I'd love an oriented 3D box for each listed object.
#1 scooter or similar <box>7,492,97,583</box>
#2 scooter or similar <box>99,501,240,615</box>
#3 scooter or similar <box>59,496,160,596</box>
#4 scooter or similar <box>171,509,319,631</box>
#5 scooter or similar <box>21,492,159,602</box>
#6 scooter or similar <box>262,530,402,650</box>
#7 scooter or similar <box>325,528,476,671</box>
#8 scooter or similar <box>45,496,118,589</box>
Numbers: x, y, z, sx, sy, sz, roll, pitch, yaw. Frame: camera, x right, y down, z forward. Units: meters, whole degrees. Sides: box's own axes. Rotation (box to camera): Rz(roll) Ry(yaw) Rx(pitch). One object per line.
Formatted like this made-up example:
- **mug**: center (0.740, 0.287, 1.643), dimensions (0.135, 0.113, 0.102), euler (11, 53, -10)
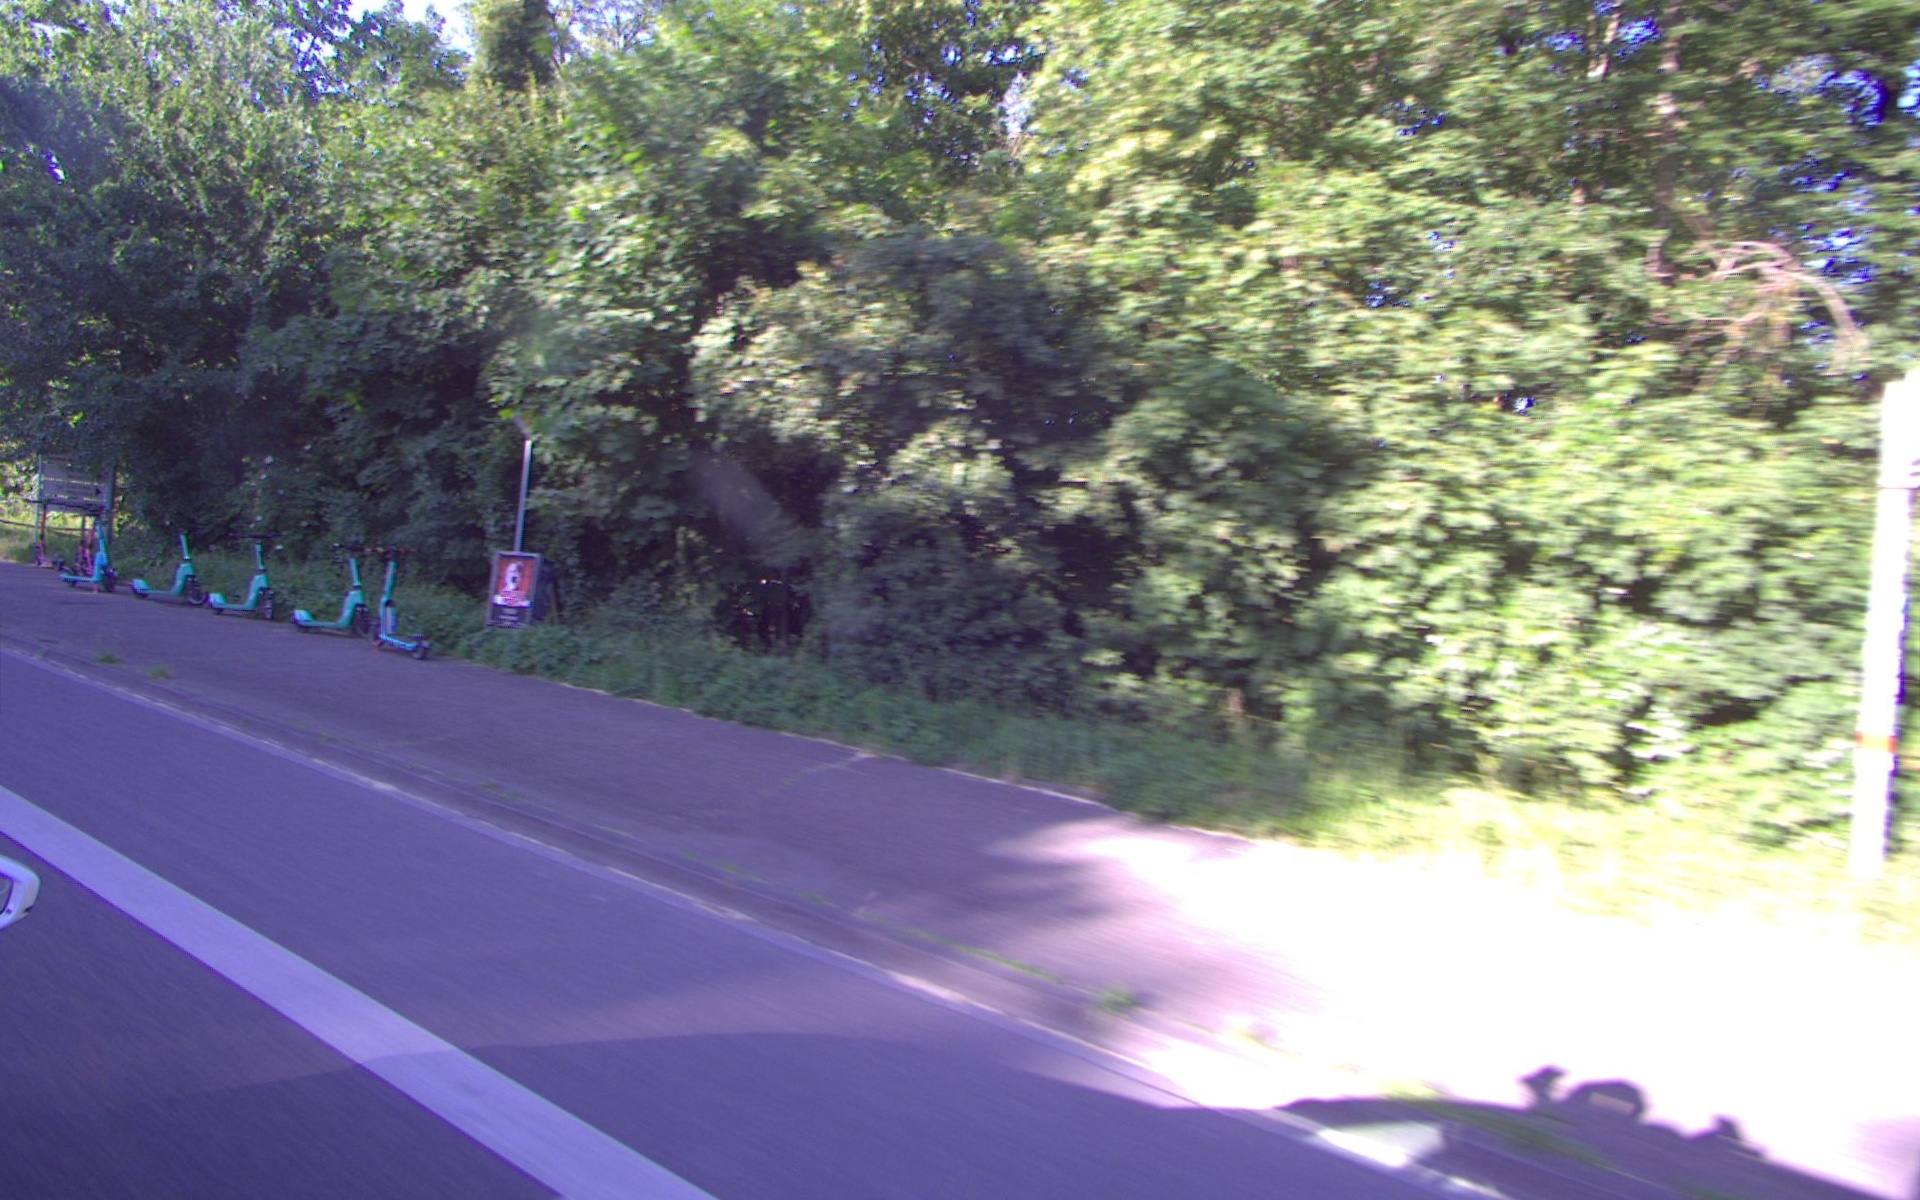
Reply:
- **scooter or similar**: center (-16.302, -1.131, 18.057), dimensions (1.654, 1.441, 0.682), euler (7, 1, 32)
- **scooter or similar**: center (-11.472, -0.608, 14.607), dimensions (1.650, 1.441, 0.684), euler (7, 1, 16)
- **scooter or similar**: center (-13.836, -0.889, 16.353), dimensions (1.654, 1.441, 0.682), euler (7, 1, 32)
- **scooter or similar**: center (-9.688, -0.400, 13.640), dimensions (1.650, 1.441, 0.684), euler (7, 1, 18)
- **scooter or similar**: center (-13.079, -0.795, 15.125), dimensions (1.650, 1.441, 0.684), euler (7, 1, 16)
- **scooter or similar**: center (-7.893, -0.124, 12.654), dimensions (1.452, 1.323, 0.467), euler (7, 1, 9)
- **scooter or similar**: center (-6.436, -0.016, 11.546), dimensions (1.653, 1.441, 0.682), euler (7, 1, 31)
- **scooter or similar**: center (-15.045, -0.992, 17.223), dimensions (1.227, 1.441, 0.681), euler (7, 1, 40)
